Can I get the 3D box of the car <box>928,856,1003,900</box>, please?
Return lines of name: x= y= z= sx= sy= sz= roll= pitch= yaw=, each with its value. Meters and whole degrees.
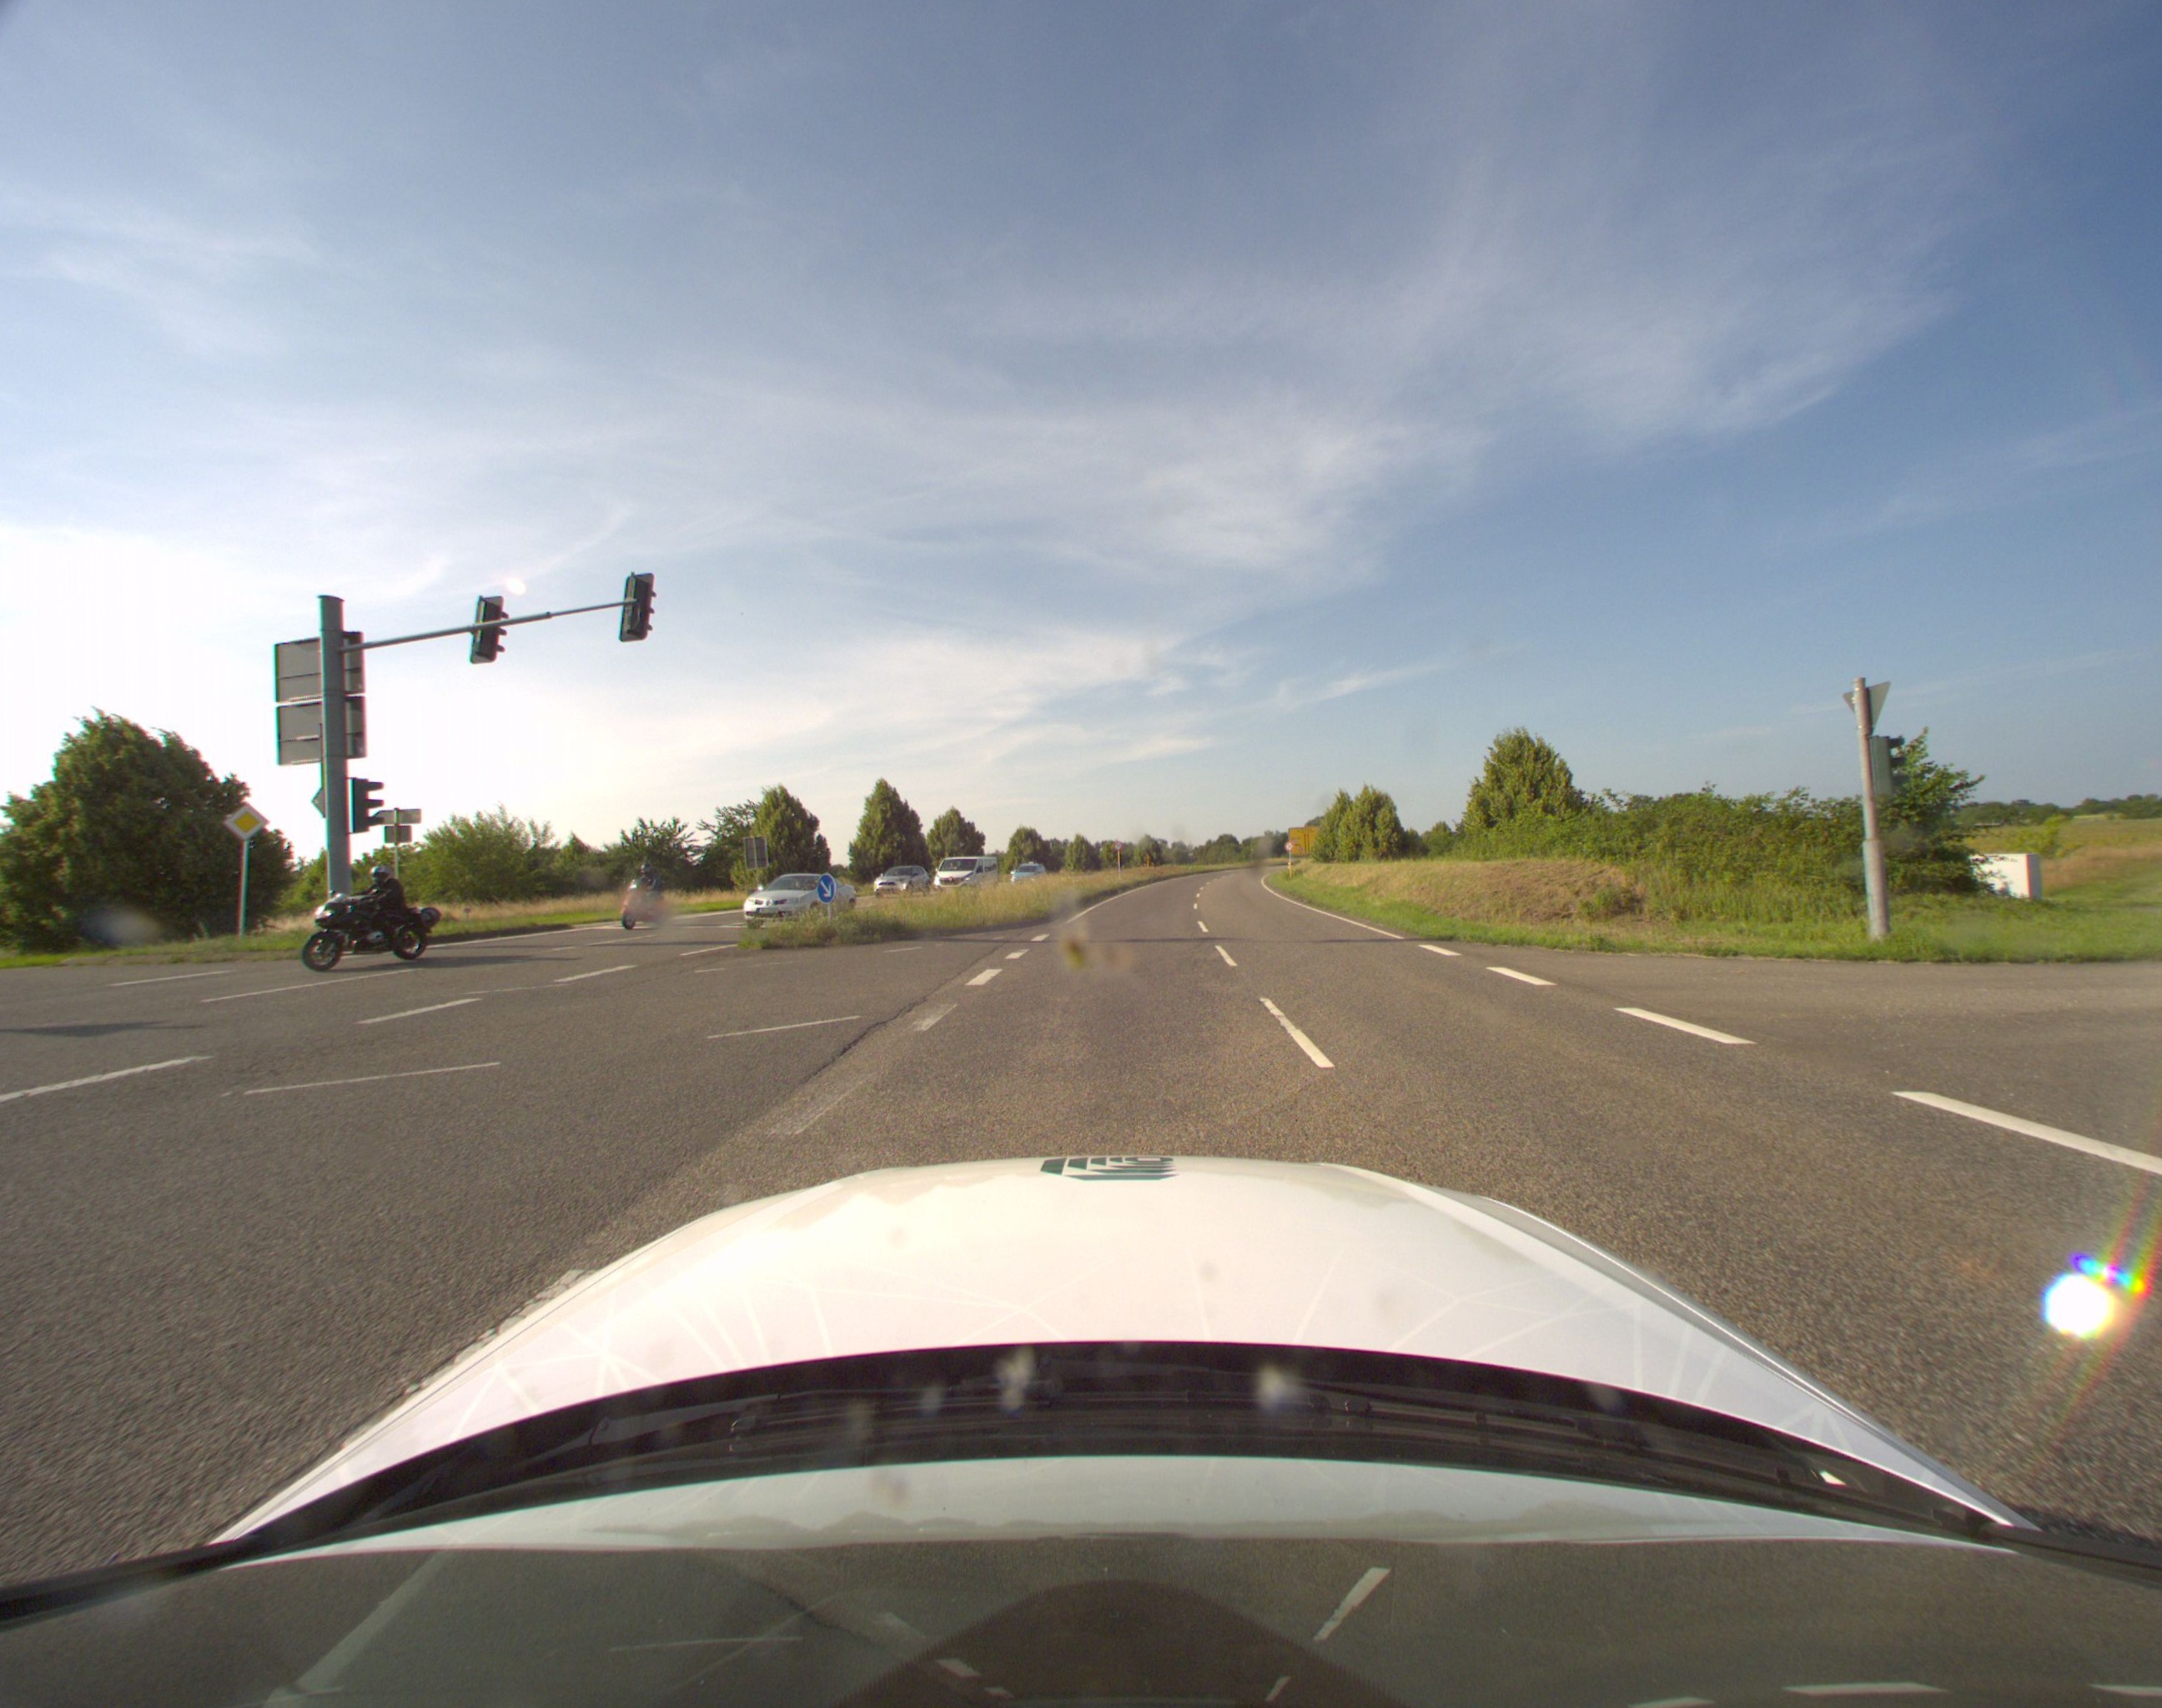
car: x=-5.394 y=1.085 z=39.043 sx=1.982 sy=1.904 sz=5.802 roll=-2 pitch=-1 yaw=8

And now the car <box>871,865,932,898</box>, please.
car: x=-8.948 y=1.323 z=40.983 sx=1.697 sy=1.525 sz=4.143 roll=-2 pitch=-1 yaw=7

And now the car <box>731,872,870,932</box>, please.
car: x=-7.387 y=1.220 z=21.985 sx=1.685 sy=1.353 sz=4.462 roll=-2 pitch=-1 yaw=8

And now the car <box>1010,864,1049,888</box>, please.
car: x=-3.276 y=1.392 z=52.196 sx=1.668 sy=1.443 sz=3.762 roll=-2 pitch=-1 yaw=9

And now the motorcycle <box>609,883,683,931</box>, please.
motorcycle: x=-11.772 y=1.413 z=22.125 sx=0.704 sy=1.158 sz=2.027 roll=-2 pitch=-1 yaw=8

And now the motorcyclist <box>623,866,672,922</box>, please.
motorcyclist: x=-11.768 y=1.061 z=22.135 sx=0.700 sy=1.465 sz=1.022 roll=-2 pitch=-1 yaw=8

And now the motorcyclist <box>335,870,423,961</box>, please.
motorcyclist: x=-12.159 y=1.039 z=14.133 sx=0.694 sy=1.503 sz=0.897 roll=-2 pitch=-1 yaw=4

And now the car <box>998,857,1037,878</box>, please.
car: x=-5.006 y=1.075 z=65.108 sx=1.900 sy=1.565 sz=4.624 roll=-2 pitch=-1 yaw=11

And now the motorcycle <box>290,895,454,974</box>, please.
motorcycle: x=-12.139 y=1.338 z=14.072 sx=0.698 sy=1.138 sz=2.280 roll=-2 pitch=-1 yaw=4
